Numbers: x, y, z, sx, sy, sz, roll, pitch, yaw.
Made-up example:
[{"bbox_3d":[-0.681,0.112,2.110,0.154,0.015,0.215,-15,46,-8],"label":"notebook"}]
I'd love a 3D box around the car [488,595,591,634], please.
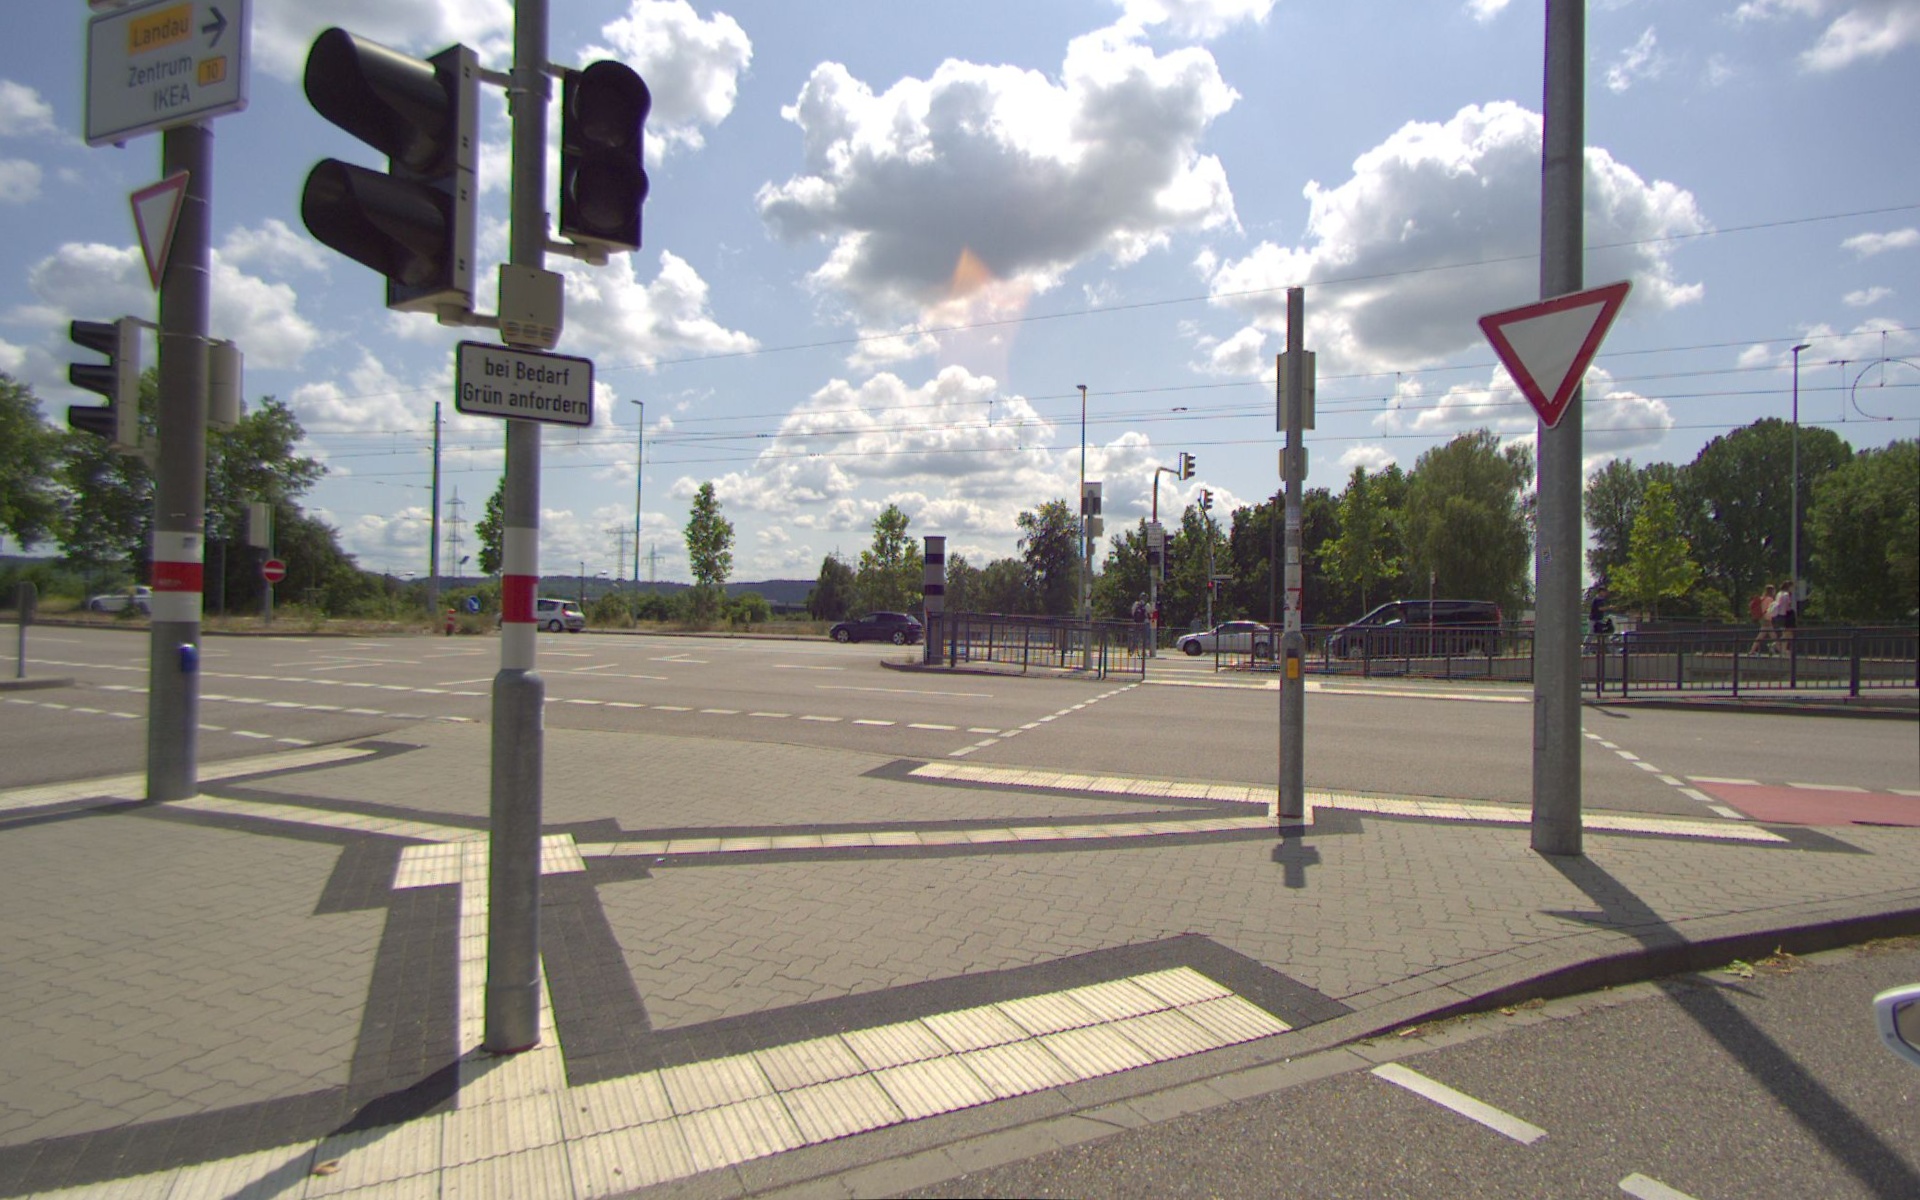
[{"bbox_3d":[-20.167,0.699,48.211,4.235,1.679,1.816,0,-5,14],"label":"car"}]

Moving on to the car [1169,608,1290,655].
[{"bbox_3d":[10.786,1.222,40.182,4.575,1.797,1.885,0,-1,20],"label":"car"}]

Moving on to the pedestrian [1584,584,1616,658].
[{"bbox_3d":[15.386,0.497,24.156,0.514,1.744,0.729,-1,0,24],"label":"pedestrian"}]

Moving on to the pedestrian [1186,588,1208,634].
[{"bbox_3d":[10.630,0.505,45.078,0.964,2.040,0.903,0,0,12],"label":"pedestrian"}]

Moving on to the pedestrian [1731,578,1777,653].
[{"bbox_3d":[18.802,0.372,23.796,0.694,1.744,0.600,-1,0,23],"label":"pedestrian"}]

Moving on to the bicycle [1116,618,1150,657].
[{"bbox_3d":[5.072,1.074,29.334,0.609,1.102,1.721,0,0,22],"label":"bicycle"}]

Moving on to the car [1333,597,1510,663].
[{"bbox_3d":[13.392,0.857,29.506,4.575,1.844,2.000,0,-1,21],"label":"car"}]

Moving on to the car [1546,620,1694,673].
[{"bbox_3d":[23.491,1.606,35.911,4.079,1.797,1.885,0,-1,20],"label":"car"}]

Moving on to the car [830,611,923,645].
[{"bbox_3d":[-3.697,1.201,44.628,3.814,1.427,1.671,0,0,13],"label":"car"}]

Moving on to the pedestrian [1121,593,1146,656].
[{"bbox_3d":[5.065,0.708,29.301,0.601,1.792,0.672,0,0,22],"label":"pedestrian"}]

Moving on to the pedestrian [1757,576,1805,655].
[{"bbox_3d":[18.787,0.350,23.001,0.665,1.772,0.636,1,1,23],"label":"pedestrian"}]

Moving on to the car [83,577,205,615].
[{"bbox_3d":[-40.089,-0.171,49.351,5.030,1.832,2.001,0,-1,14],"label":"car"}]
